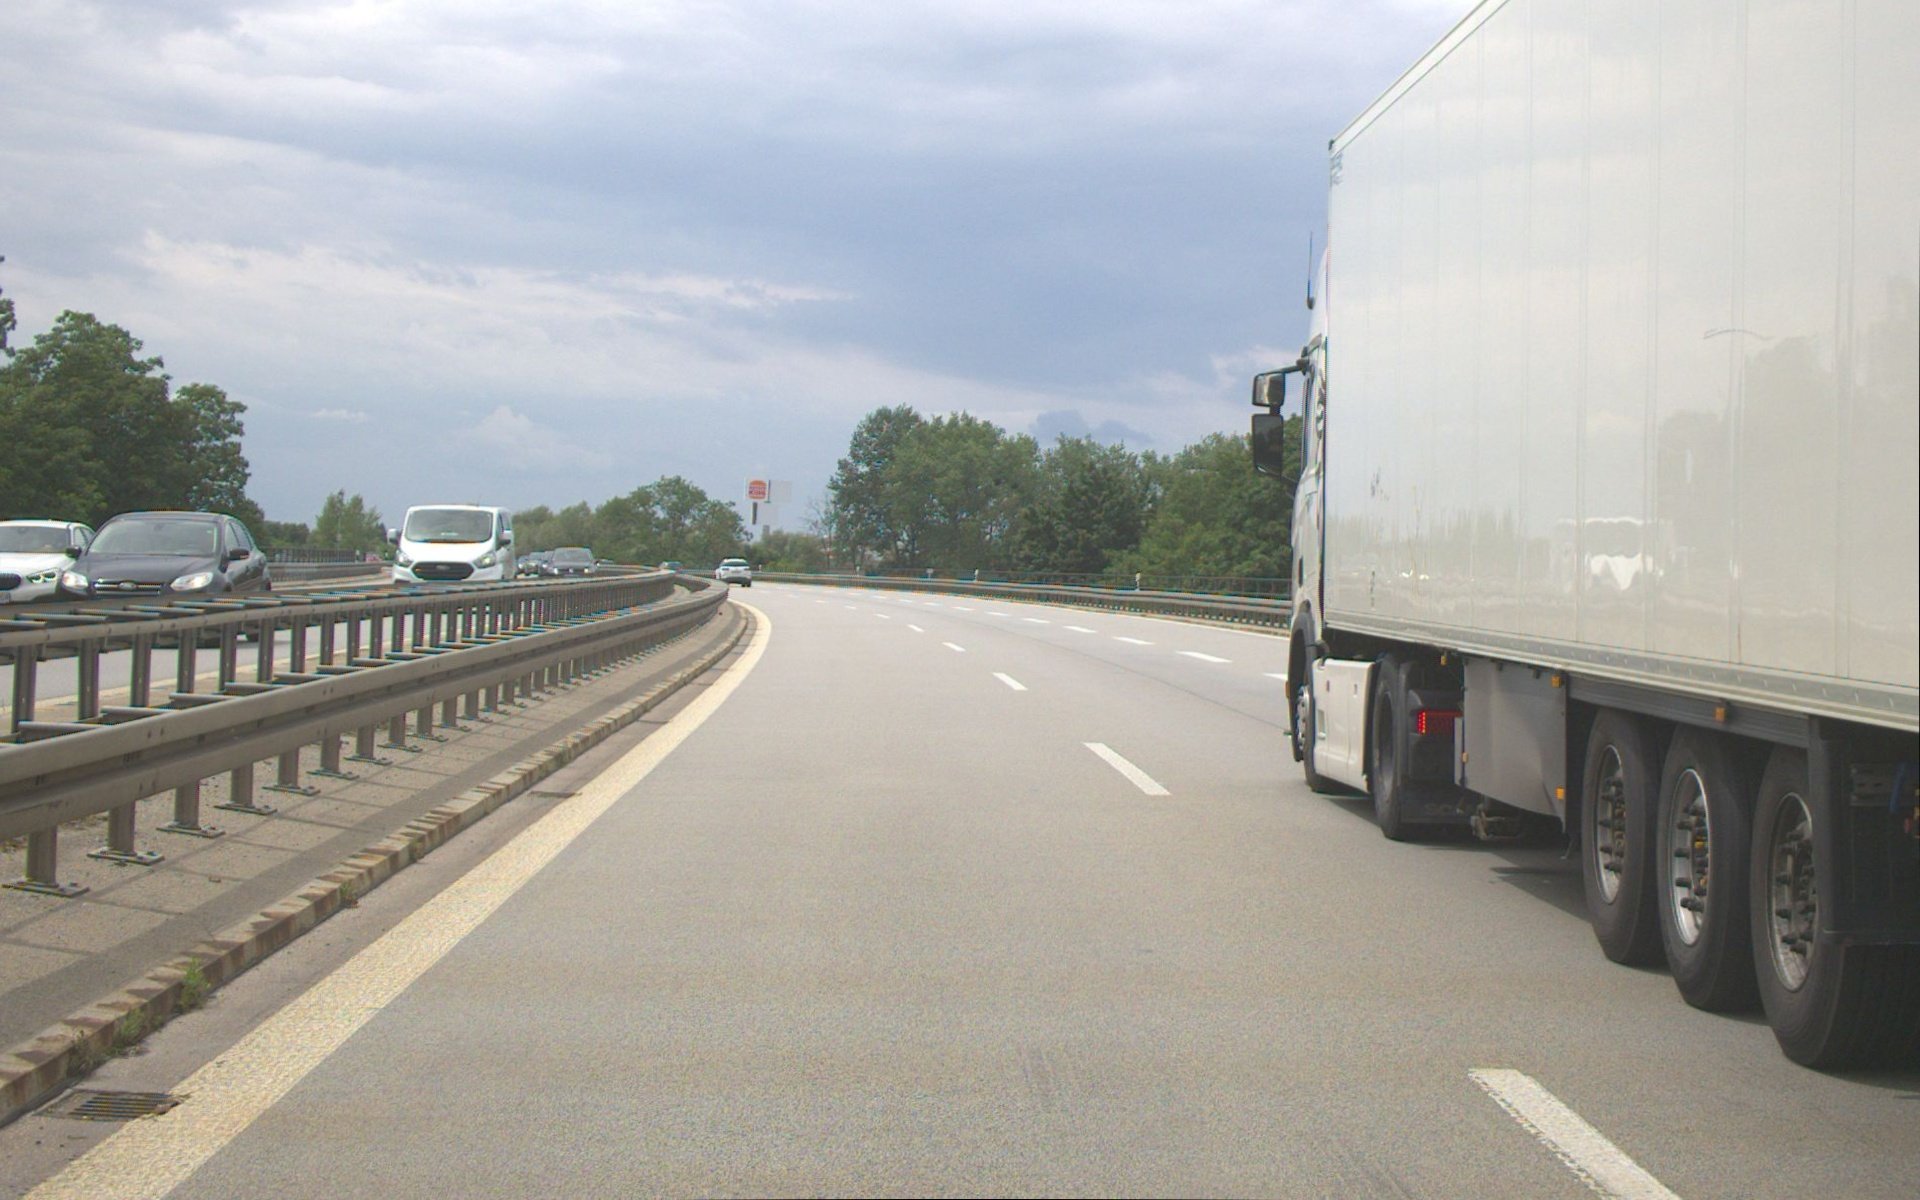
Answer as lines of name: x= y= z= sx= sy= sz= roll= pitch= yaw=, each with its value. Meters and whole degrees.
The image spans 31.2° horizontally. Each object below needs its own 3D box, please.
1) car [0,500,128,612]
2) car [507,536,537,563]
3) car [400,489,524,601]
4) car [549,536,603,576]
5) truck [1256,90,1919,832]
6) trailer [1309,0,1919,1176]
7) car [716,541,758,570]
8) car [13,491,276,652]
car: x=-12.557 y=-0.610 z=46.265 sx=1.845 sy=1.433 sz=3.936 roll=1 pitch=1 yaw=-2
car: x=-27.711 y=-3.195 z=217.528 sx=1.650 sy=1.536 sz=4.001 roll=5 pitch=1 yaw=-8
car: x=-9.147 y=-1.025 z=63.401 sx=1.771 sy=1.904 sz=4.715 roll=3 pitch=1 yaw=-3
car: x=-13.313 y=-1.534 z=119.318 sx=1.685 sy=1.371 sz=4.359 roll=0 pitch=1 yaw=-4
truck: x=3.689 y=-0.786 z=21.243 sx=3.062 sy=3.878 sz=6.000 roll=1 pitch=1 yaw=-1
trailer: x=3.764 y=-0.660 z=14.010 sx=3.062 sy=3.877 sz=13.791 roll=1 pitch=1 yaw=-1
car: x=-13.284 y=-2.662 z=204.703 sx=1.902 sy=1.634 sz=4.397 roll=2 pitch=0 yaw=-11
car: x=-9.000 y=-0.338 z=38.345 sx=1.845 sy=1.606 sz=4.947 roll=2 pitch=1 yaw=-2
